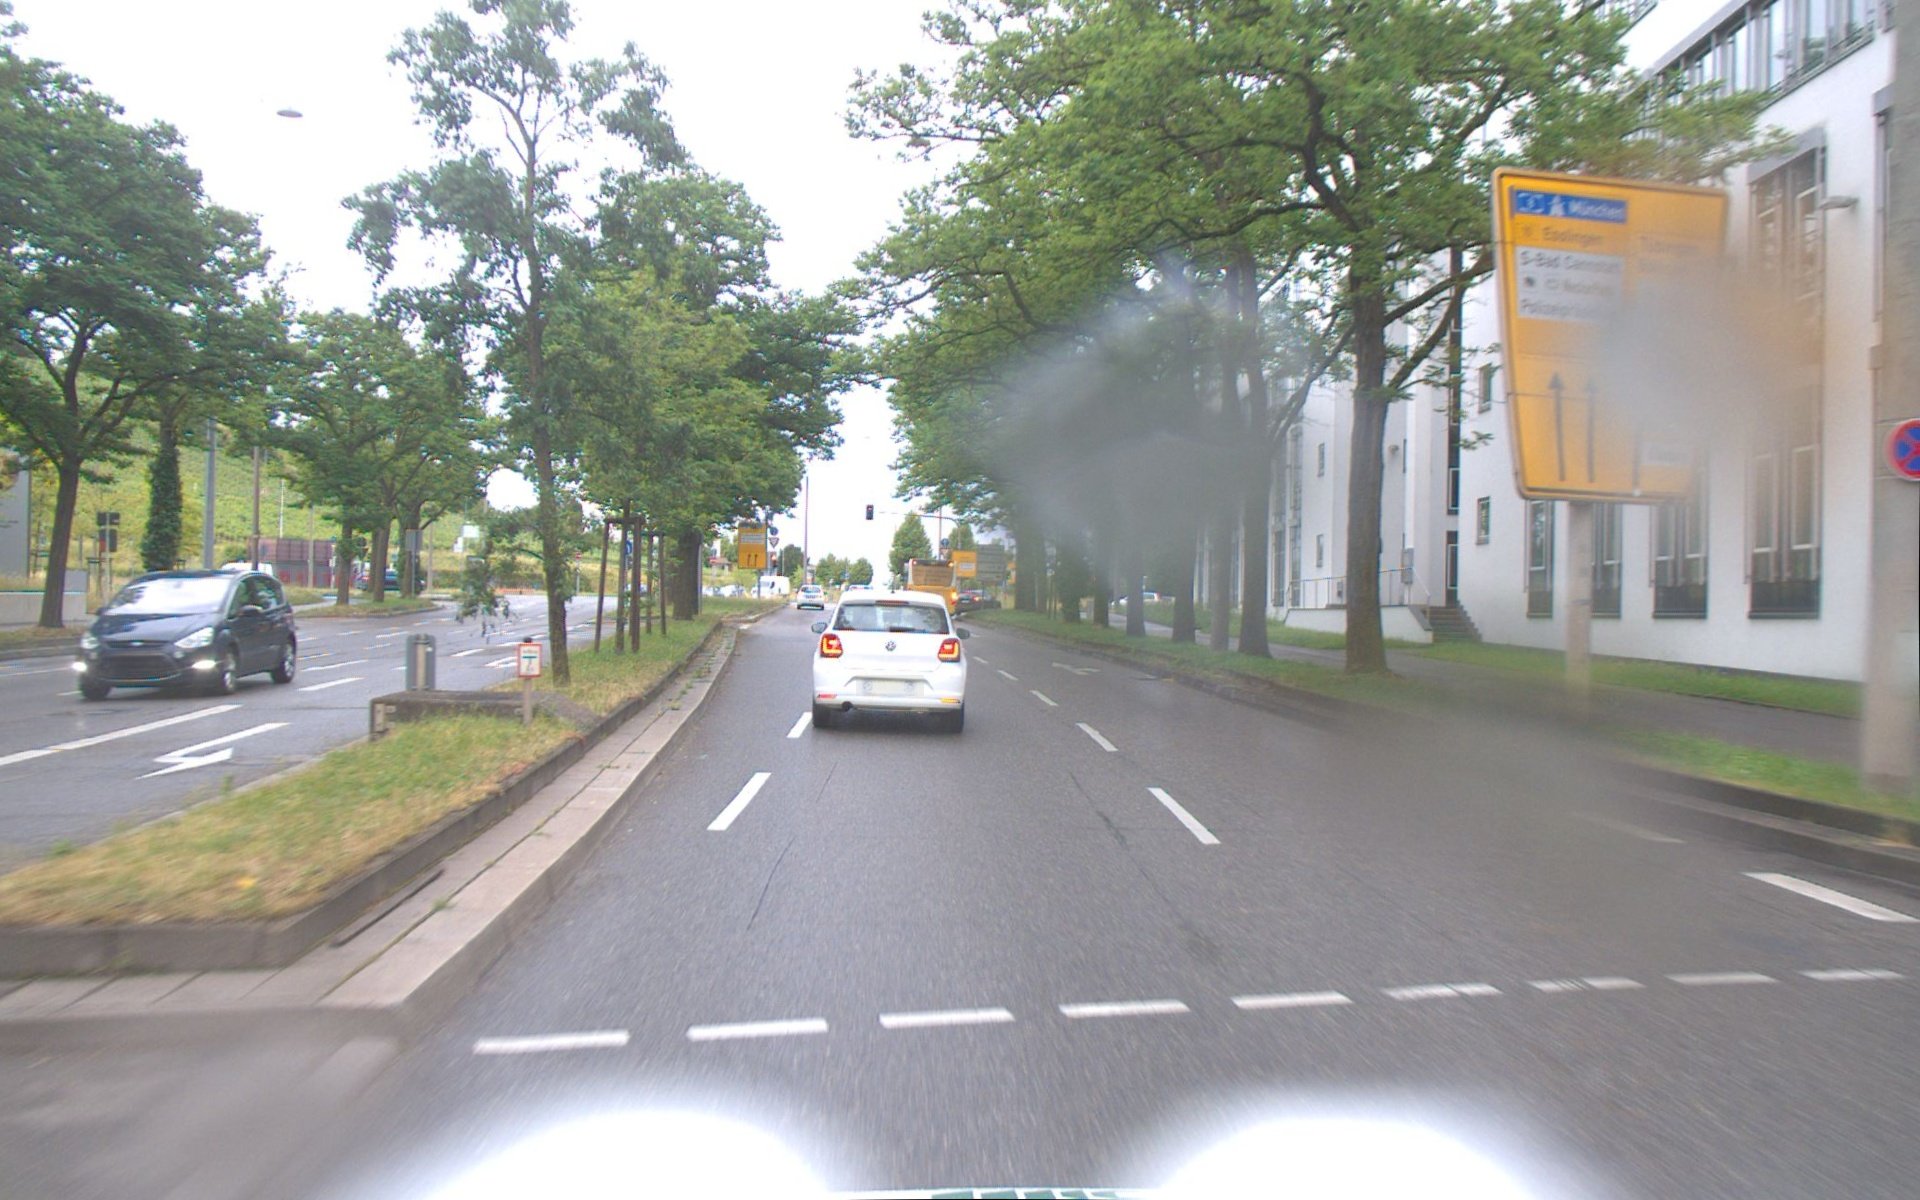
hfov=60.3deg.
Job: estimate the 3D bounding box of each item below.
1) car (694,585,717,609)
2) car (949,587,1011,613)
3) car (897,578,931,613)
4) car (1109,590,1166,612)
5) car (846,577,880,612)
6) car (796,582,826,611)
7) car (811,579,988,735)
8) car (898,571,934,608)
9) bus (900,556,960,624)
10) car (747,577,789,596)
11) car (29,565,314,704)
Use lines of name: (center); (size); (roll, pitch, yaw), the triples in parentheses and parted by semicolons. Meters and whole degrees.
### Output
car: (-23.883, -0.269, 155.510); (1.956, 2.049, 3.993); (2, -1, -7)
car: (1.238, 0.003, 100.352); (1.670, 1.542, 3.805); (0, -1, 41)
car: (-2.818, -0.258, 101.558); (1.954, 2.049, 3.997); (1, -1, -3)
car: (13.223, 0.087, 122.922); (3.903, 1.563, 2.001); (0, 0, 17)
car: (-5.897, -0.314, 100.572); (1.954, 2.049, 3.997); (1, -1, -3)
car: (-9.163, -0.191, 102.004); (1.759, 1.772, 3.996); (0, 0, -4)
car: (-0.788, 0.555, 18.790); (1.759, 1.528, 3.996); (2, 1, -5)
car: (-2.563, -0.577, 96.020); (1.954, 2.049, 3.997); (1, -1, -3)
bus: (-1.694, -0.545, 88.112); (2.772, 3.324, 9.994); (1, 0, -3)
car: (-20.844, -1.484, 179.982); (1.953, 2.049, 5.708); (0, 0, 24)
car: (-10.541, 0.382, 22.601); (1.956, 1.644, 5.113); (-1, 1, -7)
